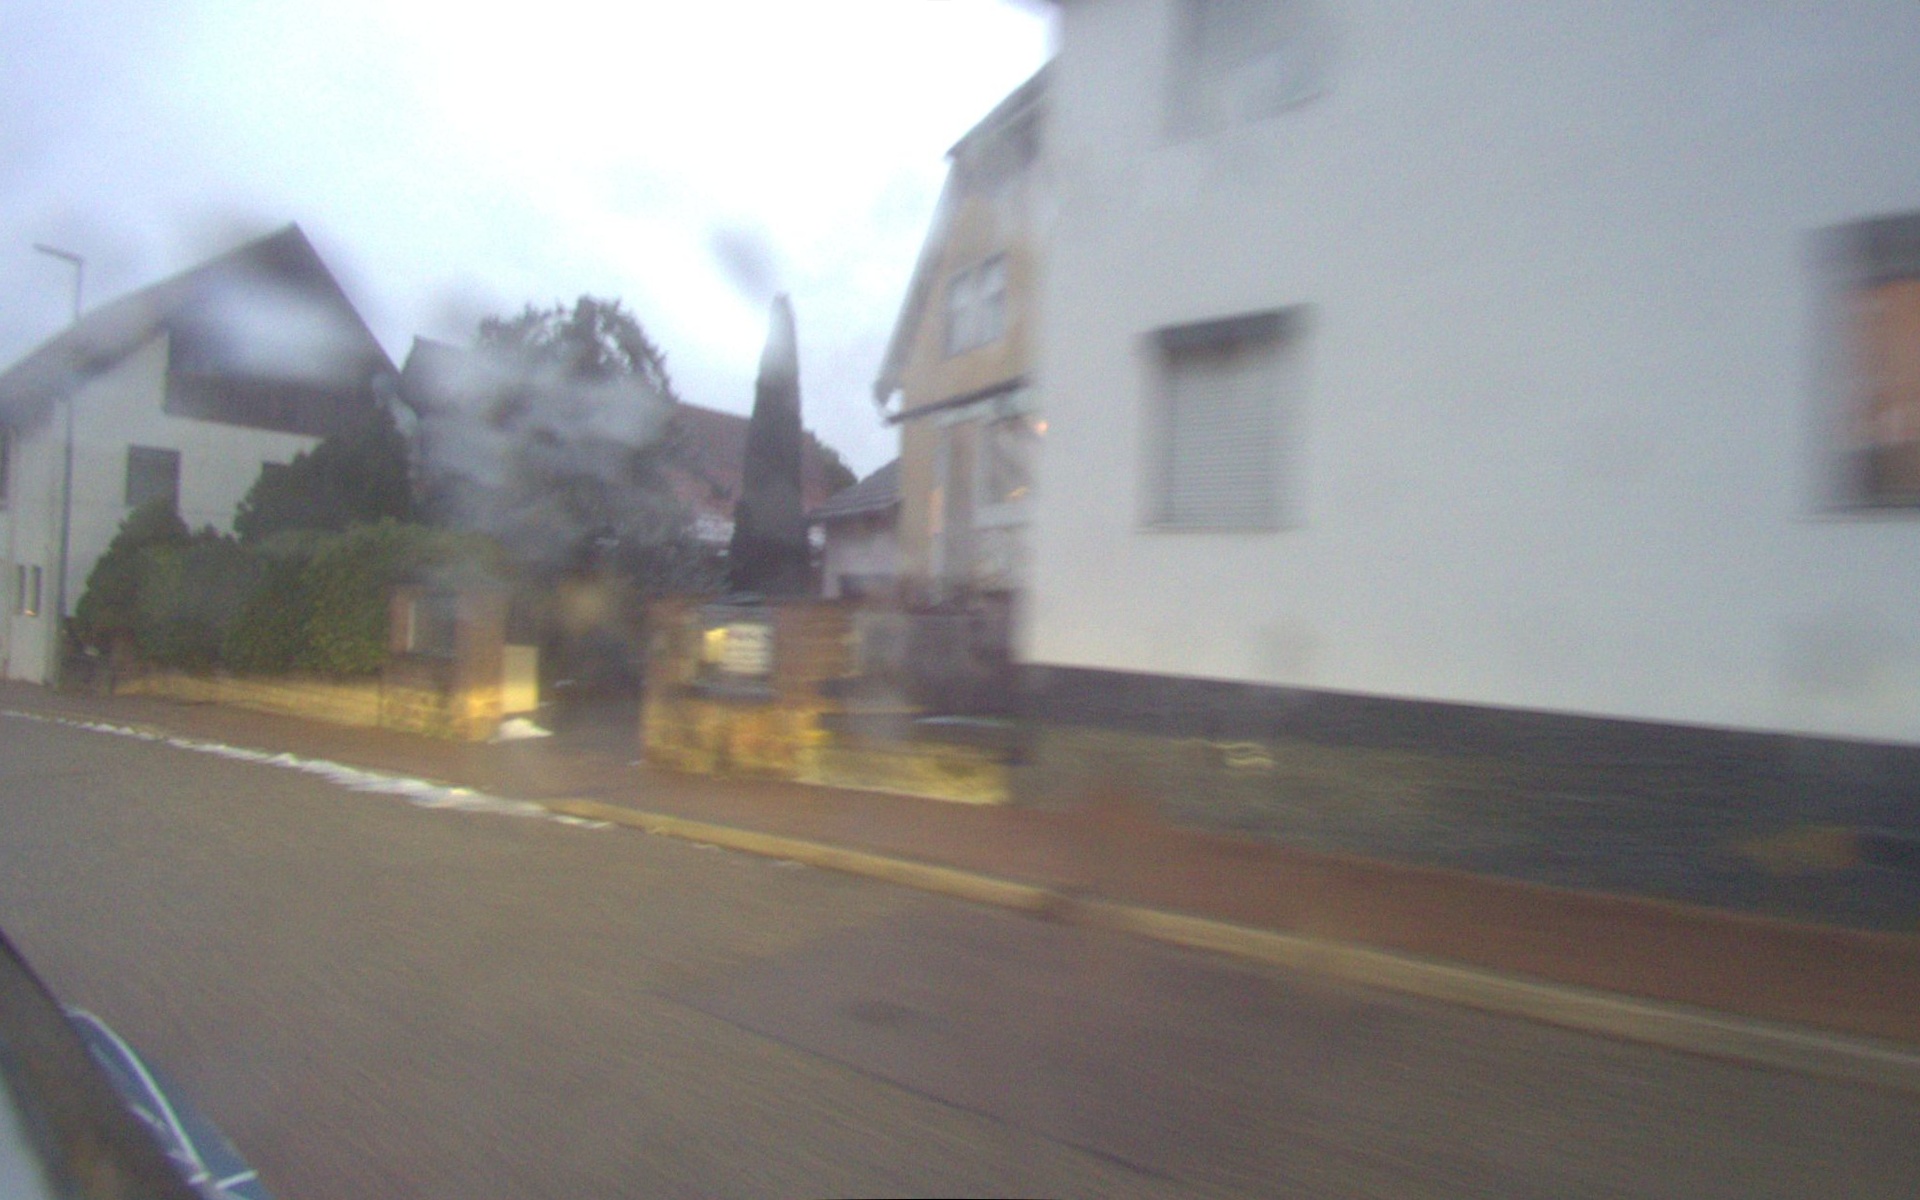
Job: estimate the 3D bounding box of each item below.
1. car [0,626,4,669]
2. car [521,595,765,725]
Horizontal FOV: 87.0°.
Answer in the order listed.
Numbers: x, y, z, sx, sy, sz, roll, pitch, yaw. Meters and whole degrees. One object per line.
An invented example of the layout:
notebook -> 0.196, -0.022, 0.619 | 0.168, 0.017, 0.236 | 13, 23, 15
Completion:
car -> -34.329, 1.567, 33.142 | 4.178, 1.436, 2.000 | 0, -1, 0
car -> -4.530, 0.768, 15.063 | 1.892, 1.667, 3.619 | 0, 0, 14
